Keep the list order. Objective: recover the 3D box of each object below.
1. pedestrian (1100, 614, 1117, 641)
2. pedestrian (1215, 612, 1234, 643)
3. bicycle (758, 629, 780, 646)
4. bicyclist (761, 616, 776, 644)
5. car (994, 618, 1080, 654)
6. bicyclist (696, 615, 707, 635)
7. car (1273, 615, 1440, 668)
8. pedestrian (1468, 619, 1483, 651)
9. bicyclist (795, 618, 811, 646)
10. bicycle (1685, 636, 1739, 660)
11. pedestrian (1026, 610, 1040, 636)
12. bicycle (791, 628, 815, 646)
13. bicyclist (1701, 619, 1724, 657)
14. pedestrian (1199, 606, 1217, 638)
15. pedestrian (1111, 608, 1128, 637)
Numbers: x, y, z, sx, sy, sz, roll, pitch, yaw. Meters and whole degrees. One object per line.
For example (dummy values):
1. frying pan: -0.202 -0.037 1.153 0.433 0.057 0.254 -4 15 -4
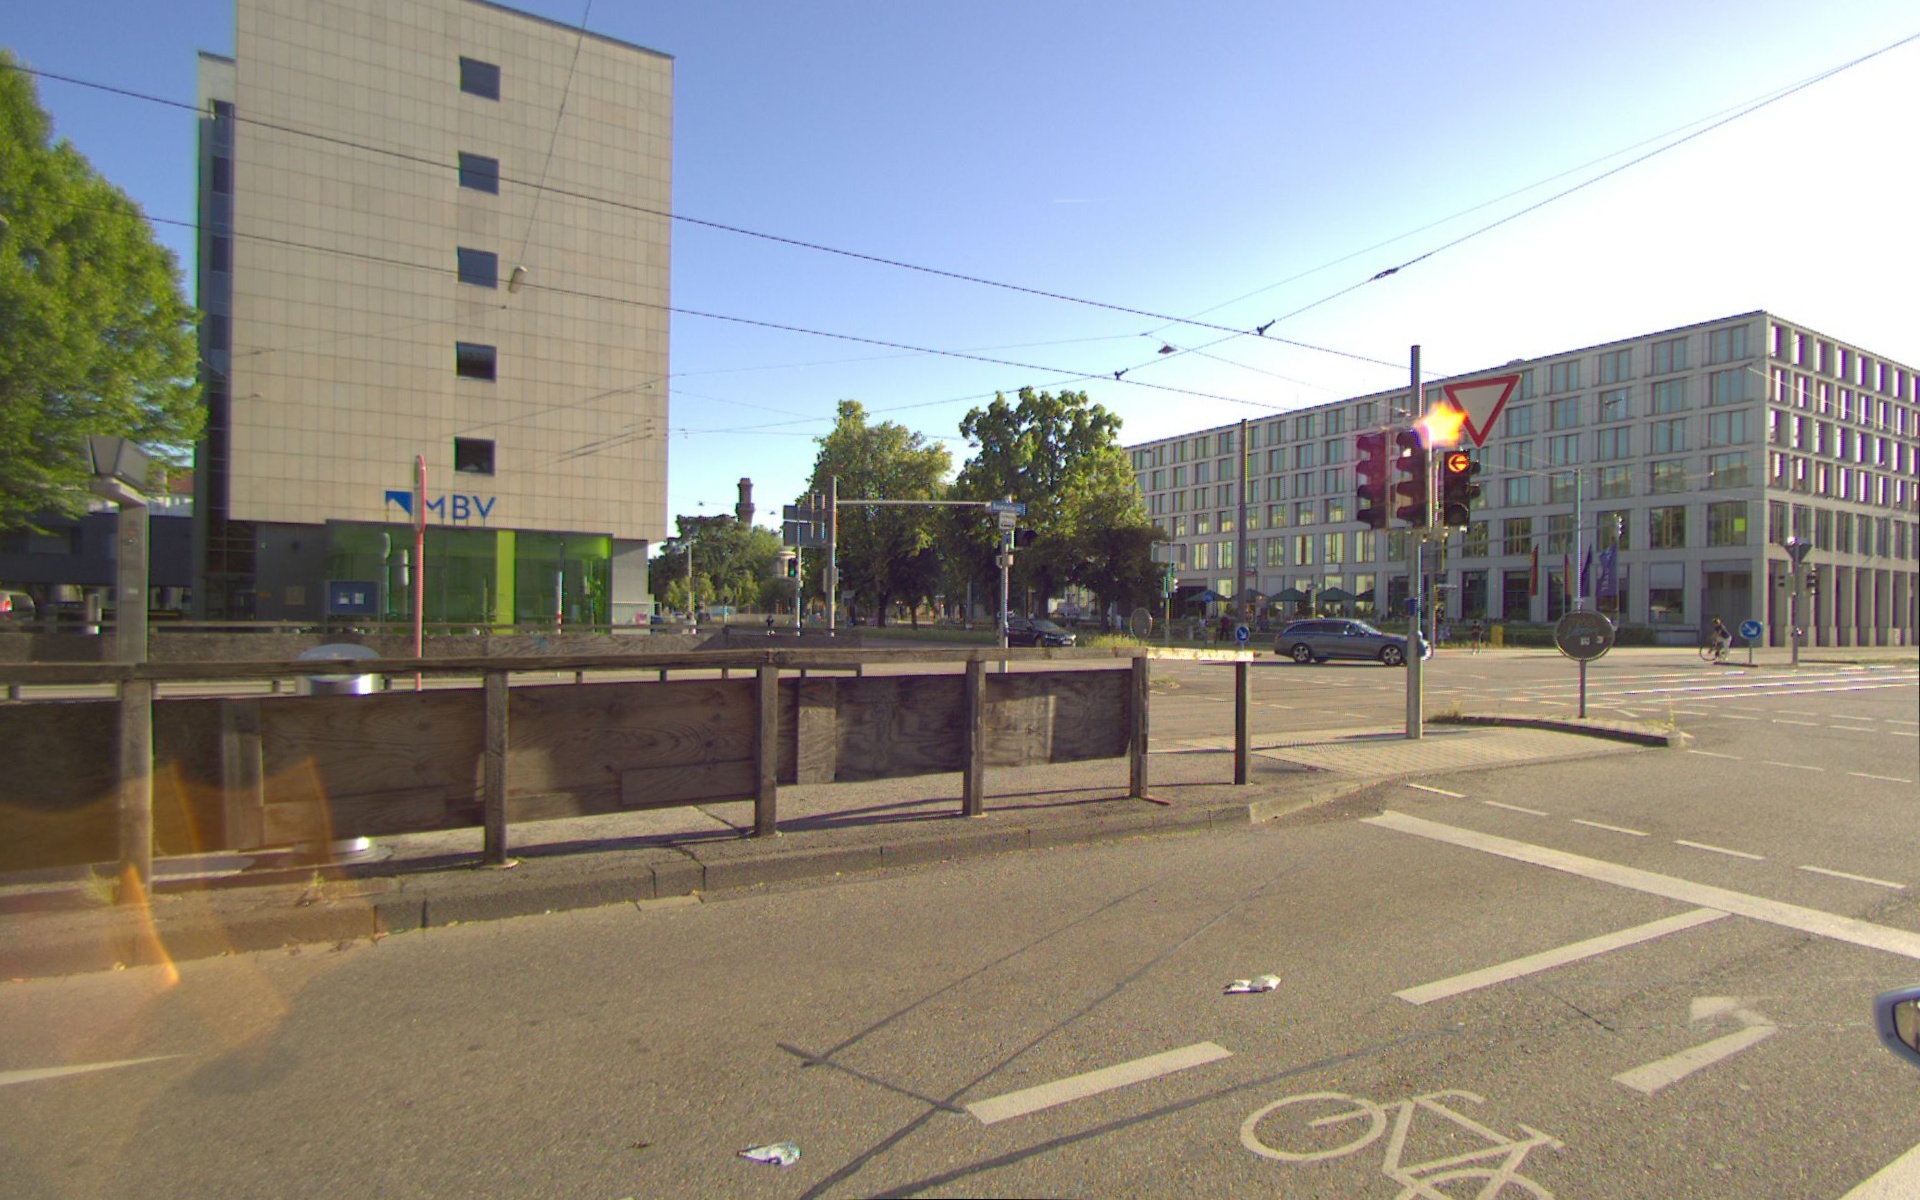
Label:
1. pedestrian: 10.517 1.952 70.994 0.865 1.925 0.711 2 0 -33
2. pedestrian: 16.418 1.711 62.415 0.863 1.925 0.714 2 0 -24
3. bicycle: -10.922 2.146 57.324 0.554 0.947 1.846 1 -1 -34
4. bicyclist: -10.929 1.715 57.335 0.600 1.544 0.758 1 -1 -34
5. car: 3.500 1.630 46.420 1.647 1.474 4.392 1 0 -32
6. bicyclist: -19.909 1.951 77.416 0.602 1.544 0.709 1 -1 -32
7. car: 12.906 1.304 32.869 4.737 1.586 1.888 0 -1 42
8. pedestrian: 26.151 1.788 50.953 0.582 1.610 0.774 0 -2 38
9. bicyclist: -8.261 1.694 52.873 0.610 1.470 0.794 1 -1 -30
10. bicycle: 31.849 2.011 42.584 1.833 0.947 0.760 0 -1 37
11. pedestrian: 5.784 1.835 79.561 0.813 2.040 0.840 2 0 -24
12. bicycle: -8.283 1.938 52.929 0.638 0.947 1.734 1 -1 -31
13. bicyclist: 31.884 1.598 42.548 0.765 1.610 0.758 0 -1 38
14. pedestrian: 16.079 1.403 65.117 0.812 2.040 0.841 2 0 -20
15. pedestrian: 11.323 1.609 71.456 0.815 2.040 0.838 2 0 -32
